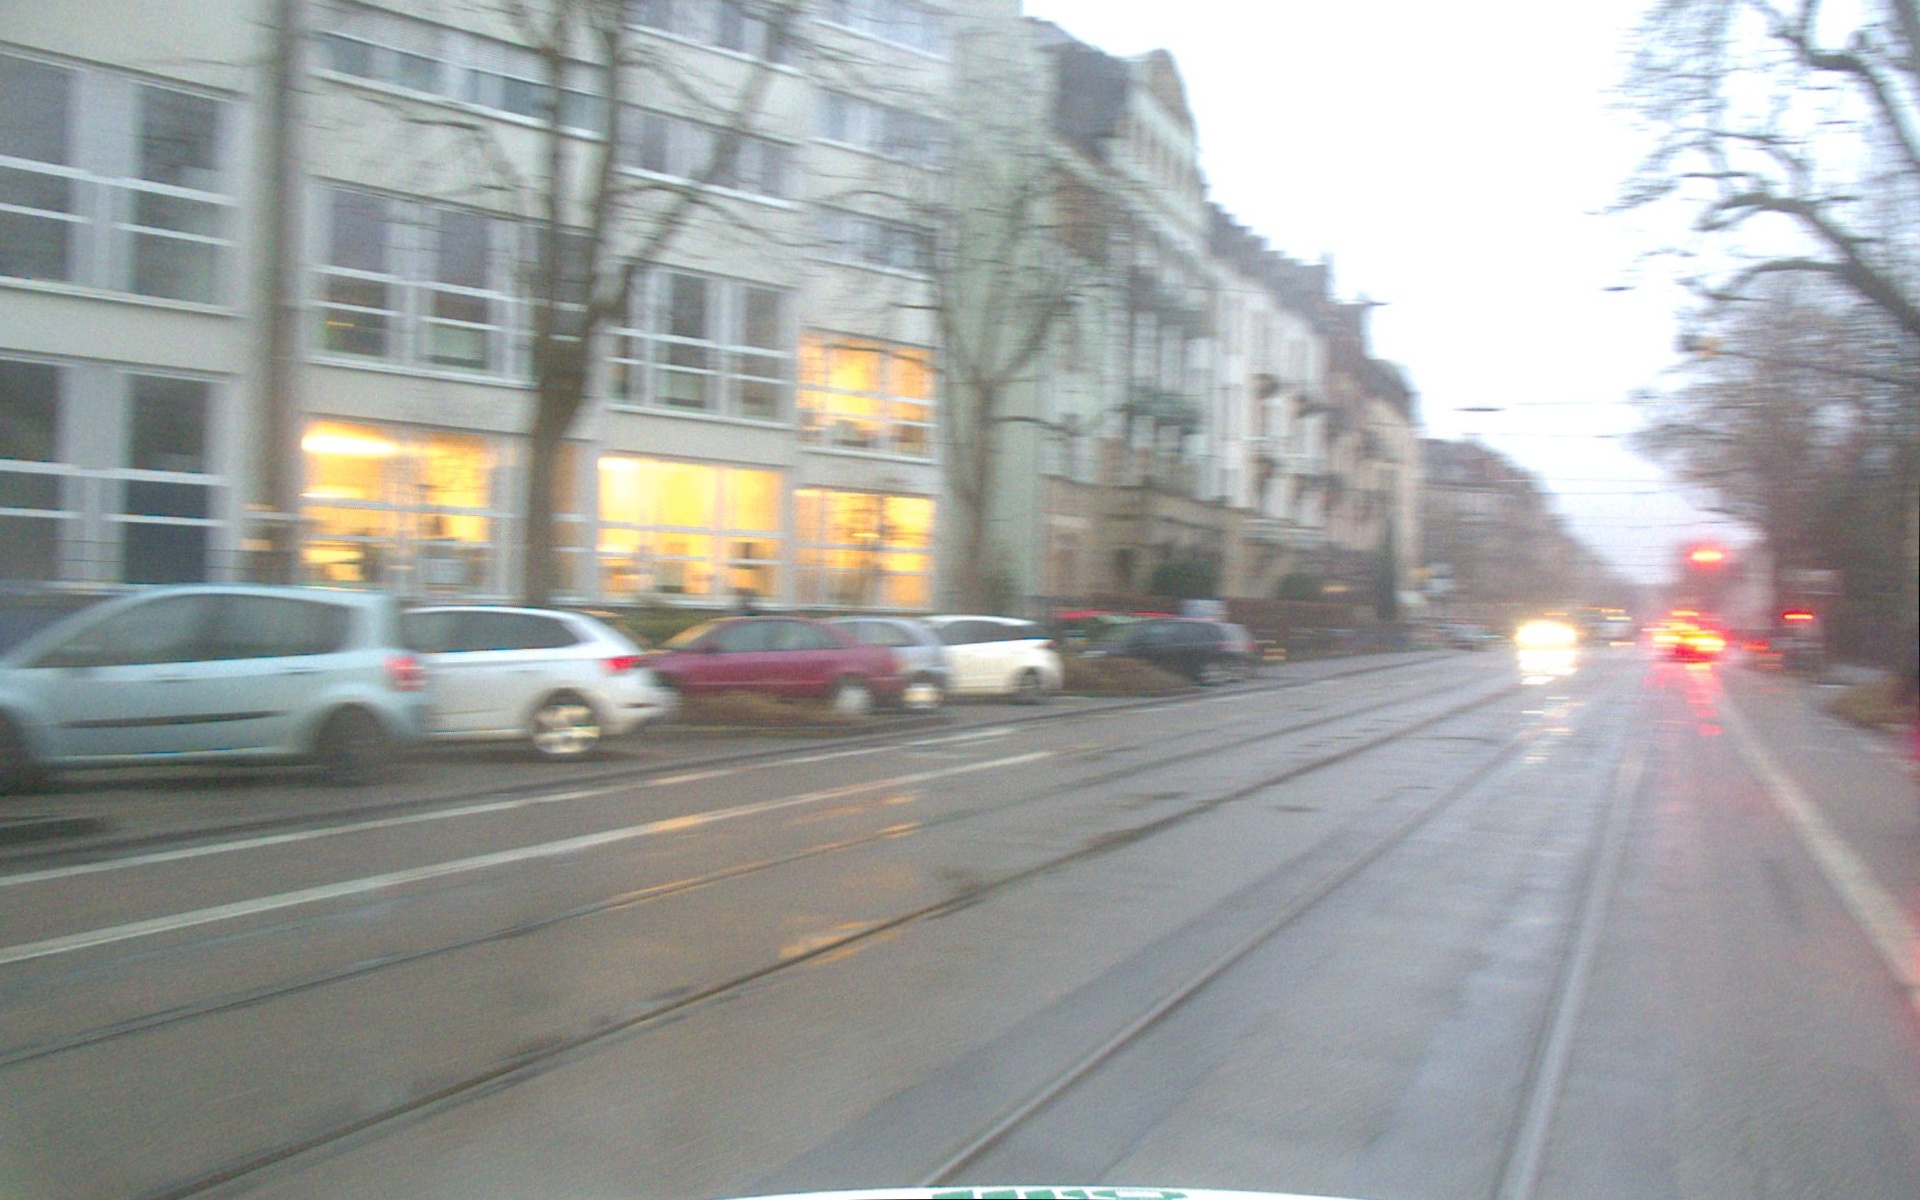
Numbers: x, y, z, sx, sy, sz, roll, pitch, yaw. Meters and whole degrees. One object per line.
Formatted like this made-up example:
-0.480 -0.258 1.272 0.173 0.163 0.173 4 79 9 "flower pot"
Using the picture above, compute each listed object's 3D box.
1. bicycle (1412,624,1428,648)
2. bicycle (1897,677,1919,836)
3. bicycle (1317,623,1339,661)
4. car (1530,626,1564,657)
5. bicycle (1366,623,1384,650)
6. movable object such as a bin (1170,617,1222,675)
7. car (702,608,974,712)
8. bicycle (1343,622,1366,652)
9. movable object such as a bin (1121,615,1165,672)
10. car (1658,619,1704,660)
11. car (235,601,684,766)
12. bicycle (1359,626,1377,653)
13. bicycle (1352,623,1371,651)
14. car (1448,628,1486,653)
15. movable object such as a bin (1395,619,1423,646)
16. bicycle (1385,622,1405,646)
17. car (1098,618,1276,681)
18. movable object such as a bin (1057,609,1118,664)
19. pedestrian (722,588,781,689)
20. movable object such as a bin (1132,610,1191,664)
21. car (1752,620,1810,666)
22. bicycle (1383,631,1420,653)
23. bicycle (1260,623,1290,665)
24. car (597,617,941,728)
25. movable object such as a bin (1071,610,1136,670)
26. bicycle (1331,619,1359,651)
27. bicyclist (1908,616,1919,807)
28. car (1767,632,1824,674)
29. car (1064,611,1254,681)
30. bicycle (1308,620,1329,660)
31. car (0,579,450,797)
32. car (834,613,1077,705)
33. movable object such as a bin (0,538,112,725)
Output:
21.583 1.673 77.599 0.601 1.099 1.811 1 0 19 "bicycle"
7.971 1.227 13.233 0.693 1.116 2.027 1 0 26 "bicycle"
12.417 1.400 55.810 0.677 1.234 1.598 1 0 14 "bicycle"
40.189 2.807 113.154 2.004 1.956 5.099 1 0 22 "car"
17.030 1.491 67.895 0.476 1.119 1.930 0 -1 22 "bicycle"
6.212 1.201 43.656 1.237 1.476 1.112 1 0 2 "movable object such as a bin"
-1.883 0.896 24.944 3.916 1.489 1.732 1 -1 -12 "car"
14.803 1.396 62.035 0.677 1.049 1.597 0 -4 18 "bicycle"
4.838 1.135 43.765 1.066 1.476 1.112 1 0 2 "movable object such as a bin"
36.282 2.017 83.344 1.953 1.930 4.757 3 -1 22 "car"
-4.660 0.782 15.947 3.914 1.469 1.733 1 -1 -10 "car"
16.339 1.575 66.151 0.677 1.049 1.597 1 -1 14 "bicycle"
15.613 1.450 64.252 0.677 1.049 1.597 1 -2 14 "bicycle"
31.405 2.485 102.407 1.796 1.472 3.998 1 0 23 "car"
26.708 1.907 98.397 1.380 1.557 1.364 1 0 23 "movable object such as a bin"
19.080 1.482 72.513 0.613 1.035 1.805 0 0 22 "bicycle"
5.543 1.191 40.405 3.927 1.453 1.838 1 0 -19 "car"
3.546 1.005 46.087 1.240 1.476 1.323 1 0 31 "movable object such as a bin"
-3.598 0.645 28.534 0.585 1.706 0.973 1 0 23 "pedestrian"
5.675 1.032 46.537 1.240 1.476 1.323 1 0 31 "movable object such as a bin"
37.006 1.903 74.659 1.953 1.933 5.026 1 0 22 "car"
22.189 2.106 83.208 1.767 1.099 0.616 1 0 17 "bicycle"
9.441 1.308 49.598 0.677 1.234 1.597 1 0 18 "bicycle"
-2.549 0.935 22.145 4.278 1.376 1.736 1 -1 -25 "car"
3.708 1.017 42.671 1.240 1.476 1.323 1 0 31 "movable object such as a bin"
14.029 1.278 60.267 0.678 1.049 1.594 0 -4 24 "bicycle"
7.899 0.873 13.060 0.643 1.471 0.848 1 0 26 "bicyclist"
32.338 2.029 64.085 1.643 1.485 4.041 1 0 22 "car"
4.543 1.052 37.770 3.931 1.496 1.820 1 0 -22 "car"
11.649 1.291 53.726 0.616 1.234 1.598 1 0 14 "bicycle"
-6.165 0.652 13.277 3.926 1.591 1.728 1 0 -19 "car"
-0.078 0.973 28.106 3.786 1.448 1.725 1 0 -22 "car"
-10.131 0.301 17.603 1.538 1.892 1.317 1 1 25 "movable object such as a bin"
